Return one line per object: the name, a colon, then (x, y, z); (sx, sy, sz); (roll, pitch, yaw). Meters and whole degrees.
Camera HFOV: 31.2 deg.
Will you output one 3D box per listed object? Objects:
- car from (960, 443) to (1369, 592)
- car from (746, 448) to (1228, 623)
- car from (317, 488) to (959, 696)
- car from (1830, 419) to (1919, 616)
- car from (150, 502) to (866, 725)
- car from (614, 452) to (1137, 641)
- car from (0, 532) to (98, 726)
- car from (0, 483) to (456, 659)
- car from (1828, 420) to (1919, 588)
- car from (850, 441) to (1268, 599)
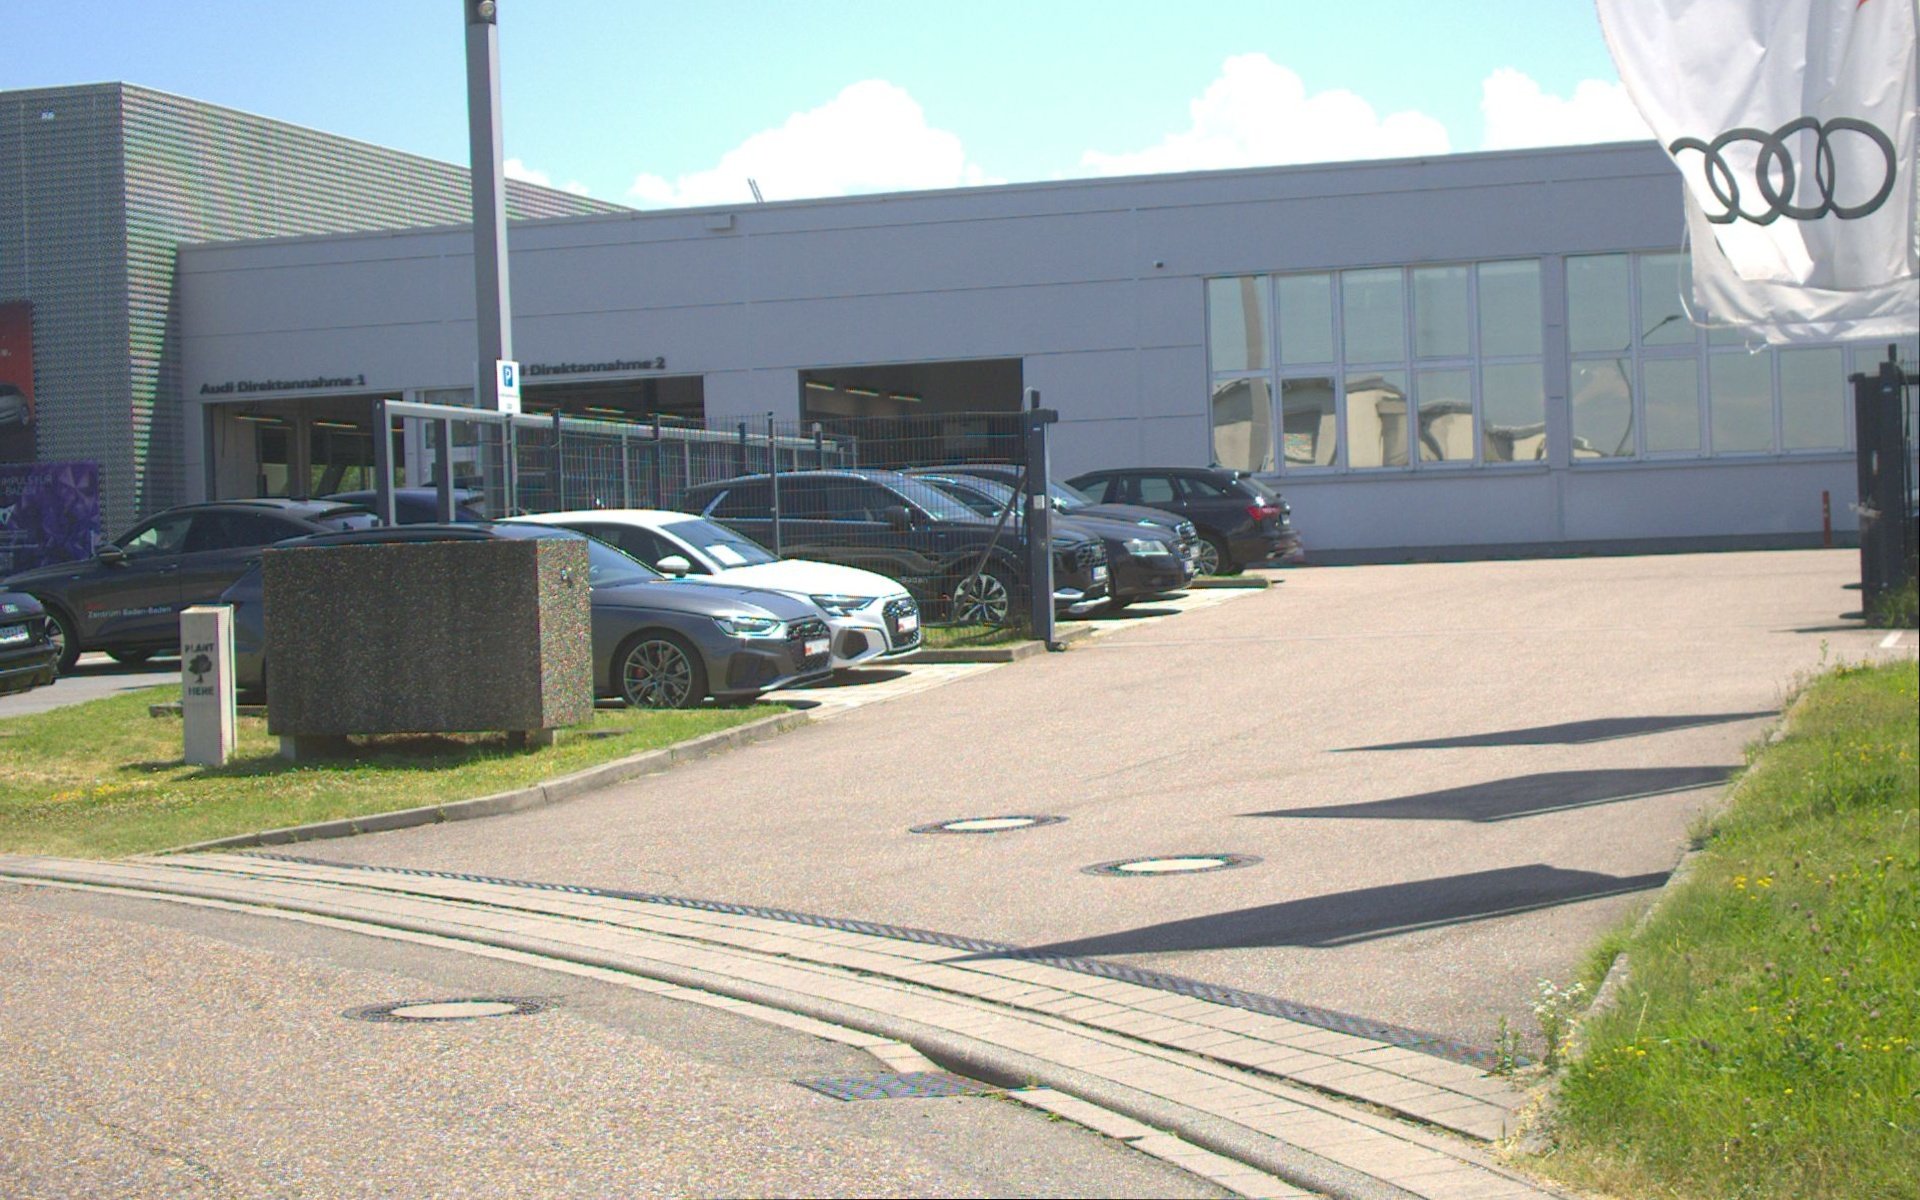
car: (2.512, -1.010, 41.954); (4.614, 1.624, 1.966); (-2, 2, 16)
car: (0.301, -0.681, 35.826); (4.614, 1.624, 1.966); (-2, 2, 16)
car: (-2.656, -0.073, 28.560); (4.932, 1.523, 1.824); (-2, 2, 16)
car: (9.817, -0.785, 29.188); (4.614, 1.624, 1.966); (-2, 2, 16)
car: (-3.379, 0.093, 25.922); (4.932, 1.462, 1.966); (-2, 2, 16)
car: (-0.788, -0.523, 33.165); (4.614, 1.624, 1.966); (-2, 2, 16)
car: (-9.728, 0.280, 27.817); (5.011, 1.449, 1.884); (-1, 3, 16)
car: (-7.744, -0.282, 35.114); (4.773, 1.638, 1.829); (-2, 1, 16)
car: (11.068, -1.030, 34.210); (4.614, 1.624, 1.966); (-2, 2, 16)
car: (1.152, -0.921, 39.240); (4.366, 1.624, 1.966); (-2, 2, 16)
